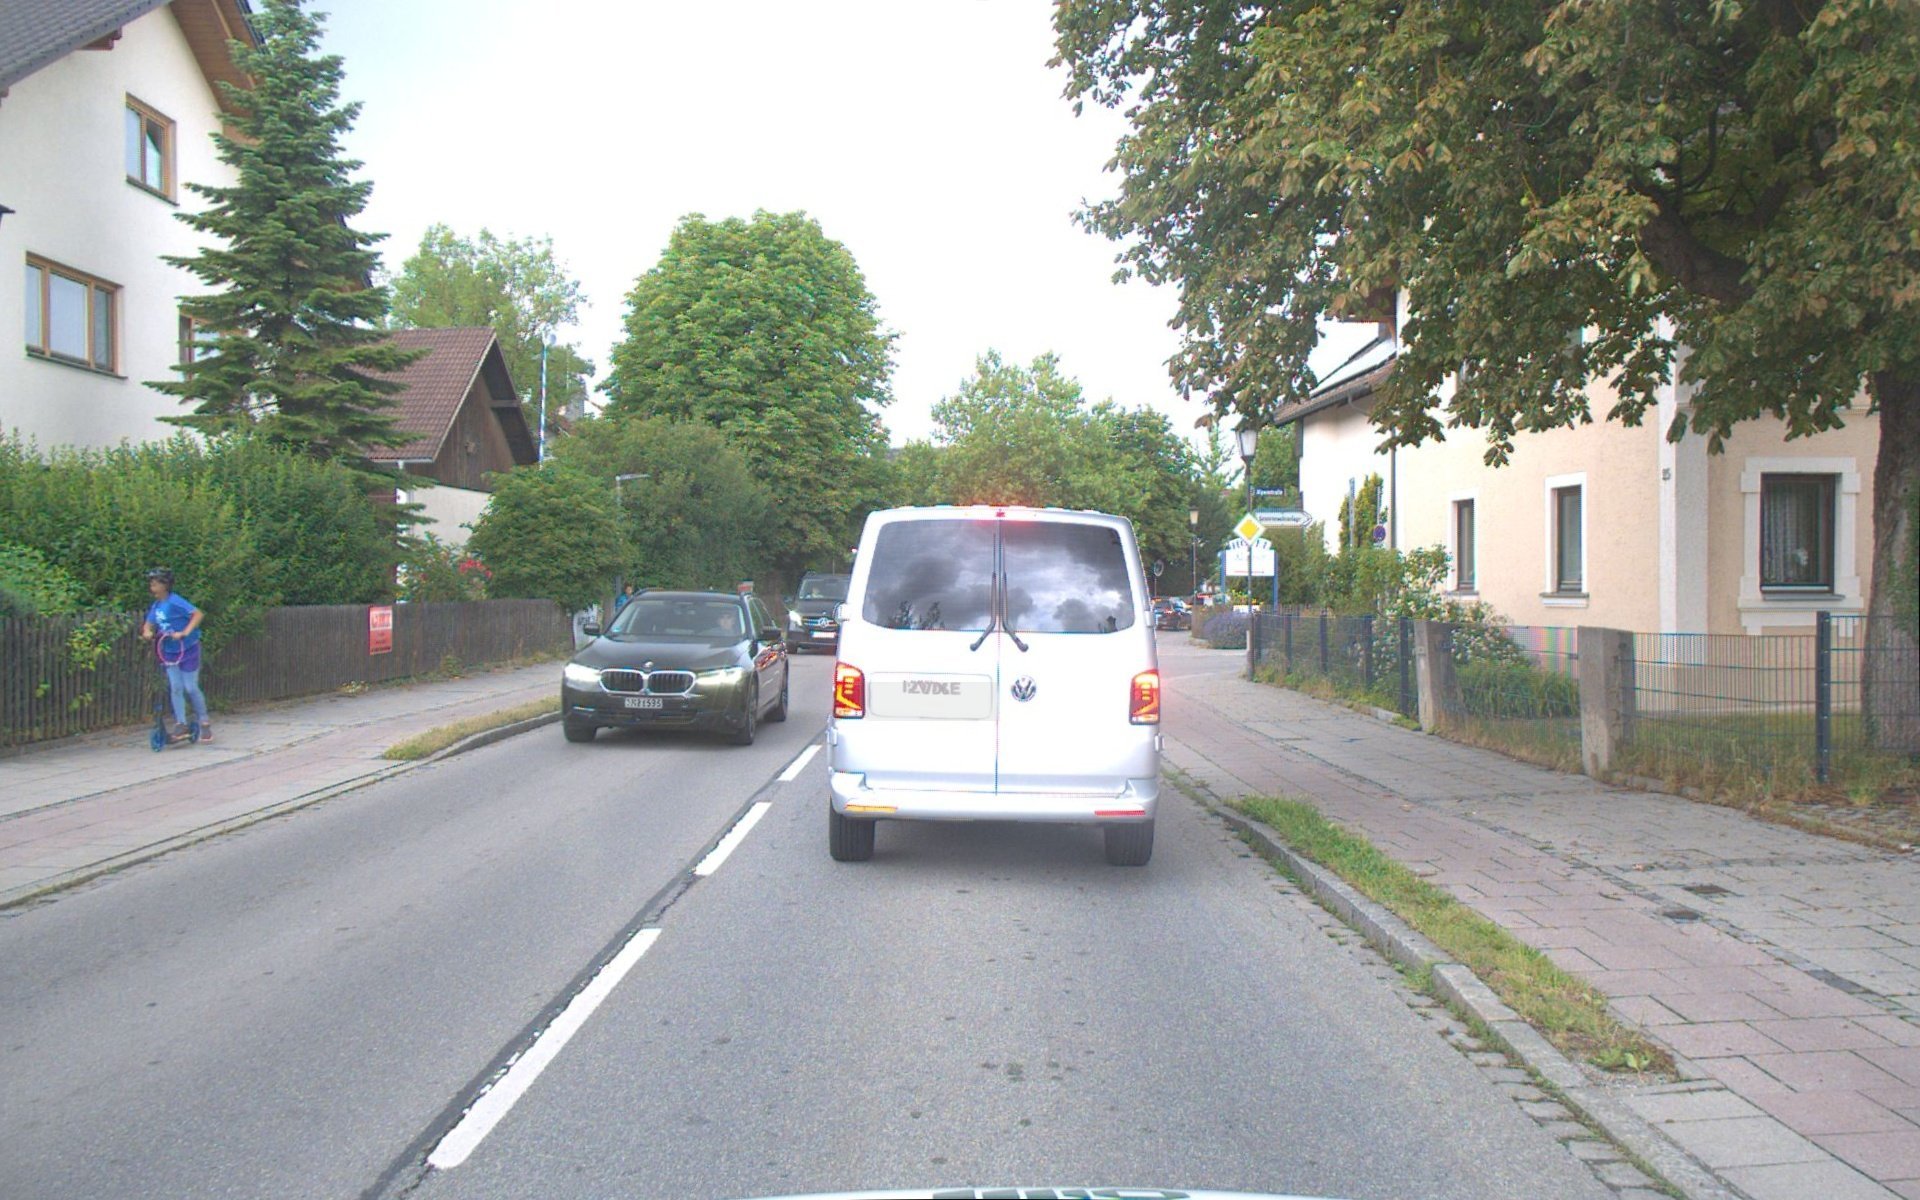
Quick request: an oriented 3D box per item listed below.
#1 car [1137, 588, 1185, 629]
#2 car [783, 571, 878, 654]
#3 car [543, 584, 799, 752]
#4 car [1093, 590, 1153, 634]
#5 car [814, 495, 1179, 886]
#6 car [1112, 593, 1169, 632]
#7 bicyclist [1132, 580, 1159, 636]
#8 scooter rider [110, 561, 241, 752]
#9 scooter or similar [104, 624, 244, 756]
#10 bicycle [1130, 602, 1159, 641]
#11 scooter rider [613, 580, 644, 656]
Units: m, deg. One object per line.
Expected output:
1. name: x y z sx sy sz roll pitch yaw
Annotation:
1. car: 9.122 0.362 74.851 1.841 1.779 4.084 0 0 12
2. car: -3.088 0.265 40.428 1.924 1.885 4.947 1 0 0
3. car: -2.853 0.611 17.326 1.808 1.479 4.549 1 0 0
4. car: 6.123 0.426 61.922 1.841 1.562 3.924 0 0 11
5. car: 0.194 0.450 10.340 1.842 1.974 3.921 0 0 0
6. car: 7.424 0.480 67.797 1.841 1.562 3.924 0 0 13
7. bicyclist: 5.601 0.243 49.949 0.721 1.661 0.890 1 0 1
8. scooter rider: -6.686 0.468 14.134 0.679 1.551 0.800 2 0 -2
9. scooter or similar: -6.679 0.741 14.107 0.648 1.055 1.178 0 0 -1
10. bicycle: 5.572 0.634 49.916 0.748 1.163 1.845 0 0 2
11. scooter rider: -6.601 0.353 32.959 0.492 1.515 0.716 0 0 -1
